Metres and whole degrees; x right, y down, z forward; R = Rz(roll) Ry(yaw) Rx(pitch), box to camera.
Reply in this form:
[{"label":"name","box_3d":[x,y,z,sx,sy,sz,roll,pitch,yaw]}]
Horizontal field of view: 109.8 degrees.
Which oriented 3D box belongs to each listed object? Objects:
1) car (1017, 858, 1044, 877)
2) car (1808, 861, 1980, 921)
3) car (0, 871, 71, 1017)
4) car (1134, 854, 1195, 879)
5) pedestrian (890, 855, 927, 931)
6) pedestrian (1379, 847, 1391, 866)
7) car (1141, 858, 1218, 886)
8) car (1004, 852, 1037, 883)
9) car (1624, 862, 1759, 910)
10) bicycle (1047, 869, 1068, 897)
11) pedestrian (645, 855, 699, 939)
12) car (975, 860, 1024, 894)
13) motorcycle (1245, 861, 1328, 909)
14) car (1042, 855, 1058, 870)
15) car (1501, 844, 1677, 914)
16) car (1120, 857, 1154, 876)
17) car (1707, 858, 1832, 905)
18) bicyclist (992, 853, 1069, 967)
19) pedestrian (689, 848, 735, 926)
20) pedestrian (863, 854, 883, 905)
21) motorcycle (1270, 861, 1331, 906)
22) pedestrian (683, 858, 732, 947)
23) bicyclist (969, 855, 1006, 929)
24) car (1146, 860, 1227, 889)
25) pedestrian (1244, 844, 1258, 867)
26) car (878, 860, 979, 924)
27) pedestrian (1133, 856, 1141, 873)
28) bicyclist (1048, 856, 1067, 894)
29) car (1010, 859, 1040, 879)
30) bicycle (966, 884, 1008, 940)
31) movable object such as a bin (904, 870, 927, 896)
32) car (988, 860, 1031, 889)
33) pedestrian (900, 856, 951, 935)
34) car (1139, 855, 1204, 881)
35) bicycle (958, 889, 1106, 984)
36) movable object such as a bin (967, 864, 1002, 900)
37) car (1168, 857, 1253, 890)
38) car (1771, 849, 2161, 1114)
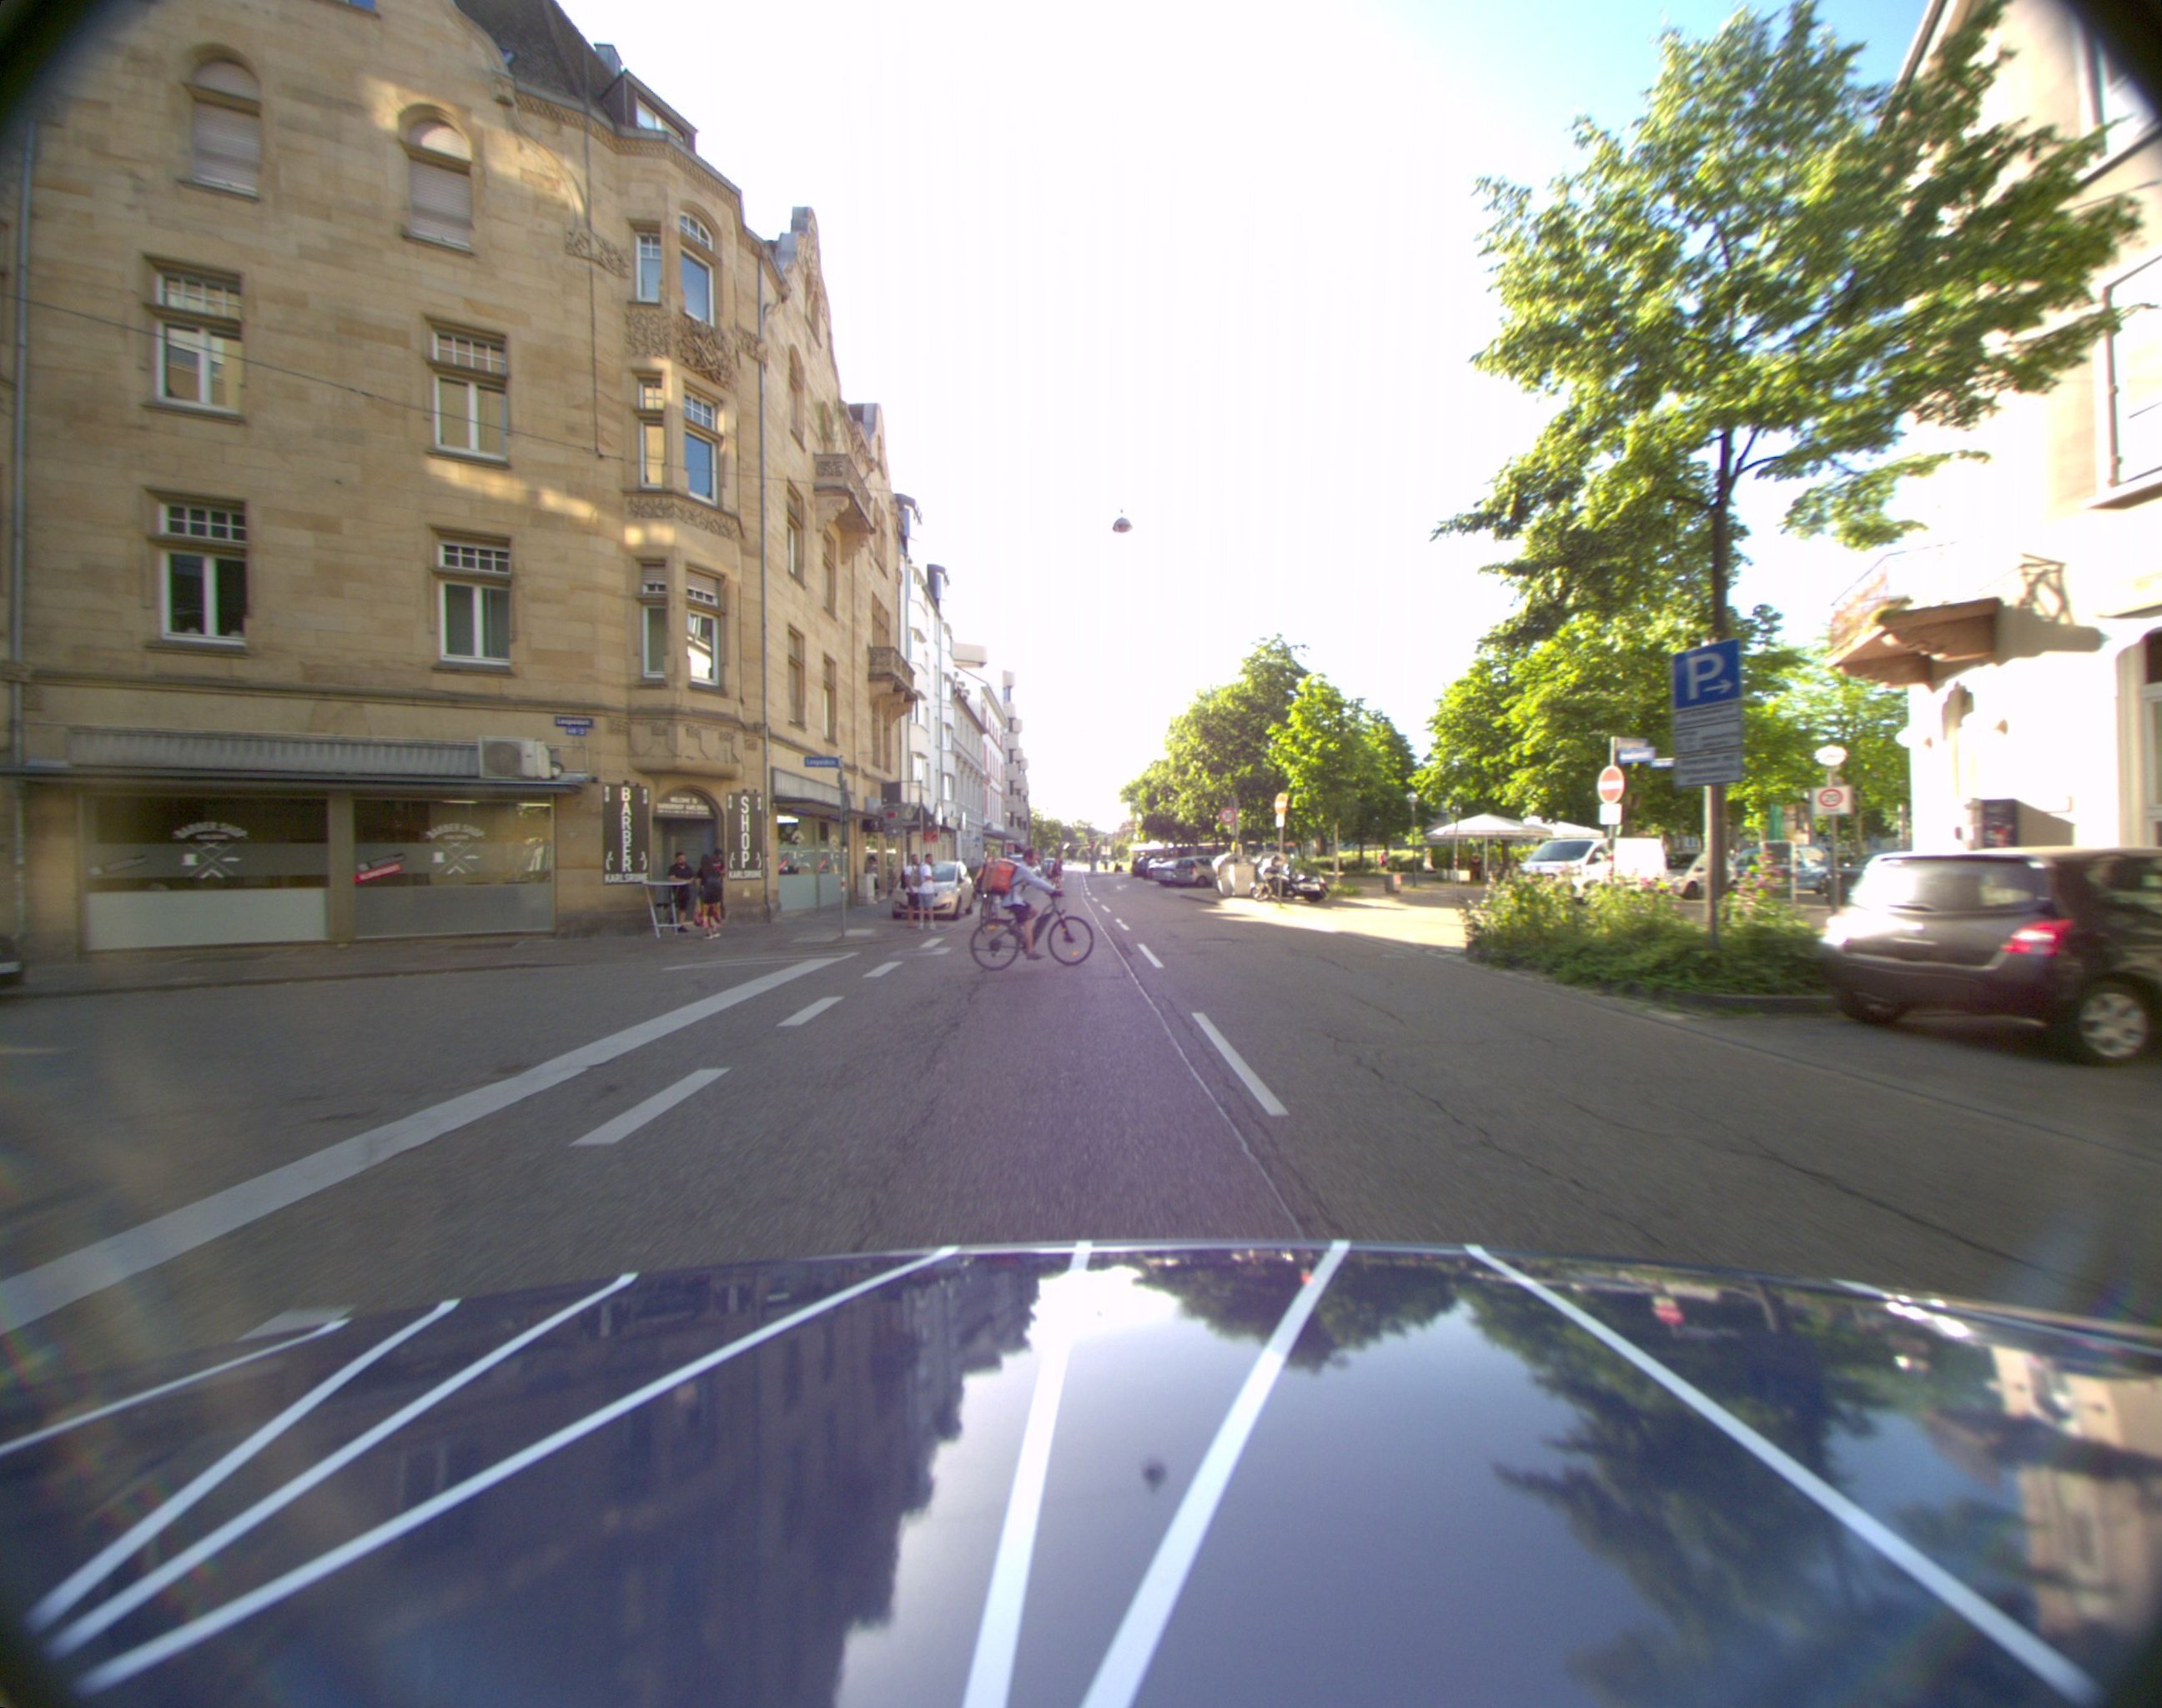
[{"label":"car","box_3d":[-4.076,1.069,62.031,1.999,1.444,3.955,2,0,-1]},{"label":"car","box_3d":[22.385,0.959,20.914,4.389,1.508,1.924,0,-1,-24]},{"label":"car","box_3d":[-15.174,1.138,8.421,4.323,1.761,1.996,-1,0,-24]},{"label":"car","box_3d":[6.172,0.914,56.060,4.003,1.684,1.997,-1,0,-19]},{"label":"pedestrian","box_3d":[-4.004,0.893,17.619,0.699,1.709,0.693,1,0,-23]},{"label":"pedestrian","box_3d":[19.962,0.140,49.943,0.527,1.249,0.519,0,0,-18]},{"label":"car","box_3d":[5.786,1.040,44.495,4.005,1.465,1.996,-1,0,-26]},{"label":"car","box_3d":[-4.105,0.886,52.057,1.999,1.941,5.100,2,0,-2]},{"label":"car","box_3d":[20.447,1.015,25.461,4.157,1.508,1.924,0,-1,-26]},{"label":"bicycle","box_3d":[-0.968,1.192,32.086,0.718,1.105,2.269,-1,0,2]},{"label":"pedestrian","box_3d":[-8.462,0.873,15.735,0.618,1.683,0.717,-1,1,27]},{"label":"car","box_3d":[-4.056,1.107,38.561,1.998,1.565,4.000,2,0,0]},{"label":"motorcycle","box_3d":[6.399,0.964,23.639,2.316,1.415,1.002,-1,0,27]},{"label":"car","box_3d":[-4.307,1.113,105.196,1.998,2.002,4.000,-1,0,0]},{"label":"car","box_3d":[15.535,0.725,23.179,5.336,1.933,2.070,0,-1,-26]},{"label":"car","box_3d":[4.602,1.019,62.391,1.771,1.421,4.006,-1,0,19]},{"label":"car","box_3d":[24.907,0.959,27.482,4.157,1.603,1.924,0,-1,-26]},{"label":"bicyclist","box_3d":[-0.721,0.751,10.678,0.890,1.516,0.668,-1,0,-21]},{"label":"pedestrian","box_3d":[-8.135,0.716,16.771,0.498,1.683,0.717,-1,1,27]},{"label":"pedestrian","box_3d":[-7.253,0.889,26.568,0.536,1.732,0.598,-1,0,-5]},{"label":"motorcycle","box_3d":[7.065,0.939,24.451,1.750,1.415,0.831,-1,0,26]},{"label":"pedestrian","box_3d":[-7.373,0.929,14.986,0.617,1.682,0.677,2,3,44]},{"label":"bicyclist","box_3d":[-2.052,0.821,16.743,0.658,1.562,0.909,-1,0,0]},{"label":"car","box_3d":[5.767,1.066,41.348,4.006,1.433,1.995,-1,0,-31]},{"label":"pedestrian","box_3d":[9.436,0.100,42.187,0.521,1.249,0.525,0,0,-34]},{"label":"car","box_3d":[-4.189,0.987,21.548,1.978,1.565,4.126,2,0,0]},{"label":"pedestrian","box_3d":[5.173,0.980,70.389,0.691,1.578,0.615,-1,0,10]},{"label":"bicyclist","box_3d":[-0.971,0.867,32.051,0.718,1.553,0.864,-1,0,2]},{"label":"car","box_3d":[-4.162,1.111,57.179,1.999,1.444,3.869,2,0,-1]},{"label":"bicycle","box_3d":[-2.040,1.235,16.640,0.666,1.061,1.836,-1,0,0]},{"label":"movable object such as a bin","box_3d":[-7.039,1.234,32.299,0.725,1.042,0.664,2,-1,10]},{"label":"car","box_3d":[-3.973,1.138,42.698,1.998,1.482,4.000,2,0,0]},{"label":"pedestrian","box_3d":[-3.487,0.906,17.116,0.693,1.709,0.897,2,0,24]},{"label":"car","box_3d":[6.337,0.953,53.381,4.004,1.635,2.099,-1,2,-20]},{"label":"bicycle","box_3d":[-0.682,1.121,10.688,1.946,1.151,0.668,-1,0,-21]},{"label":"movable object such as a bin","box_3d":[-4.036,1.177,31.932,1.147,1.413,1.411,2,0,4]},{"label":"car","box_3d":[6.683,0.988,39.135,4.006,1.553,1.995,-1,0,-31]},{"label":"car","box_3d":[8.180,0.802,5.858,3.997,1.630,1.944,-1,0,-2]}]
